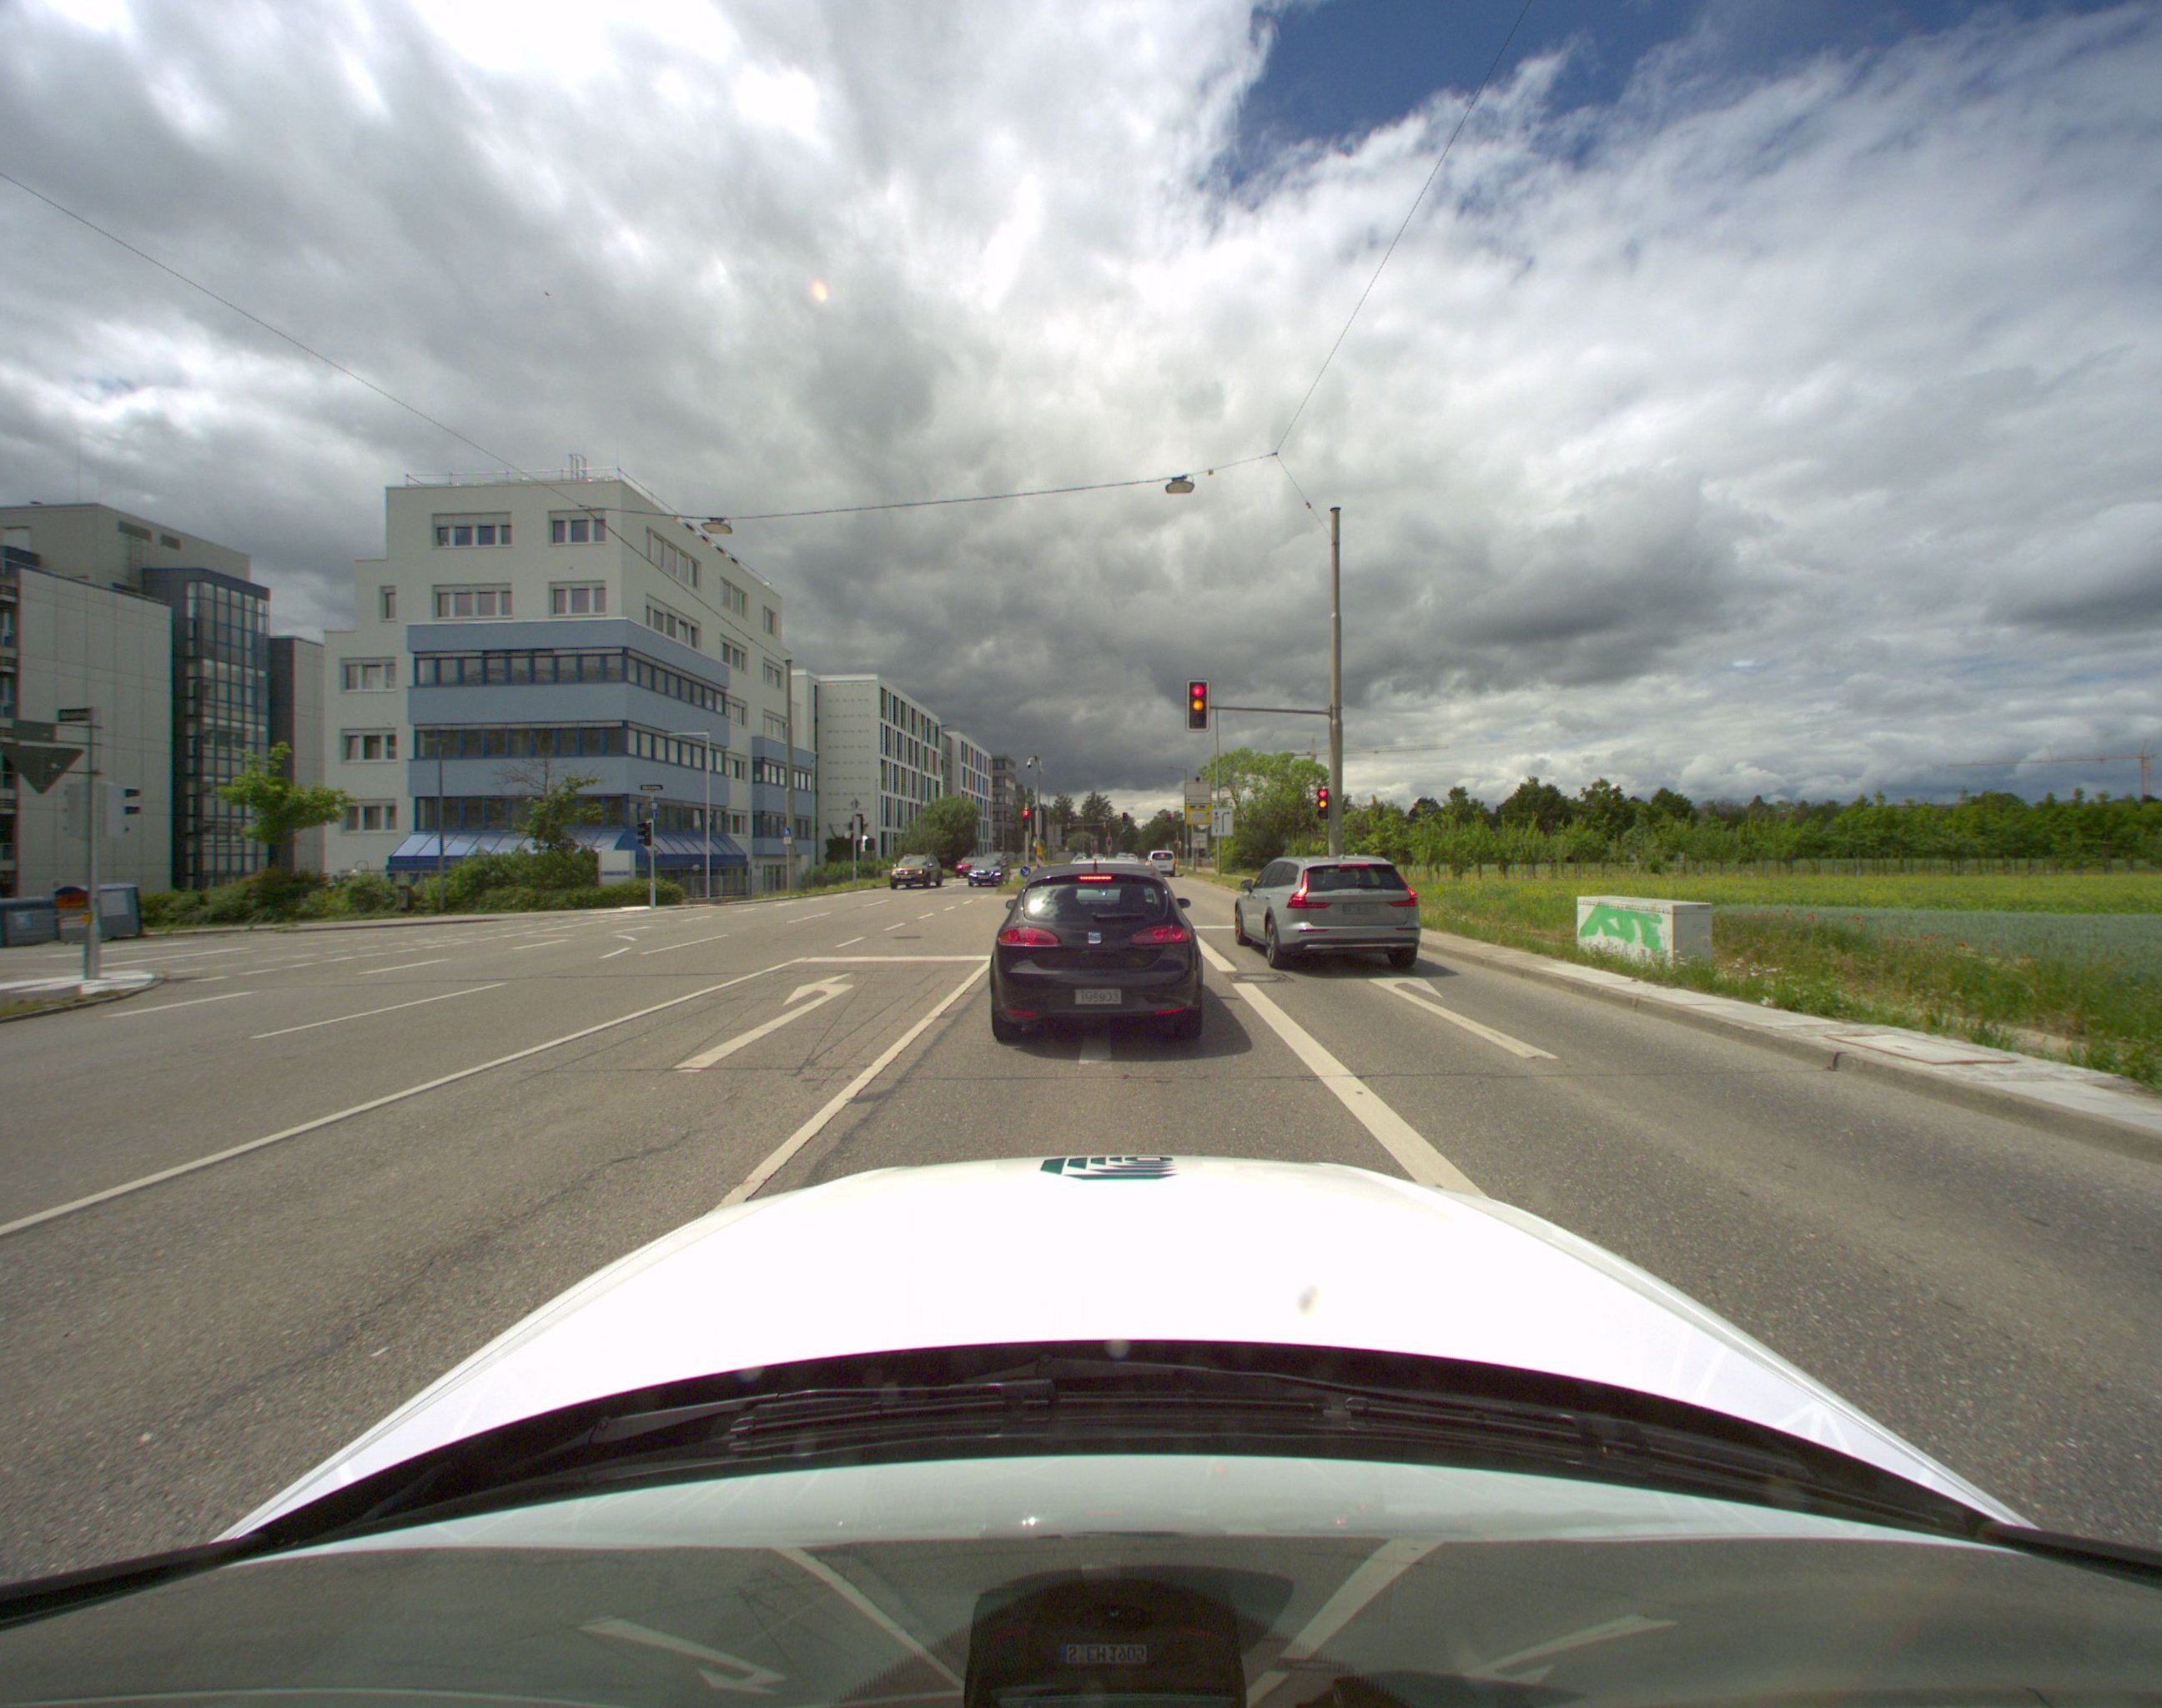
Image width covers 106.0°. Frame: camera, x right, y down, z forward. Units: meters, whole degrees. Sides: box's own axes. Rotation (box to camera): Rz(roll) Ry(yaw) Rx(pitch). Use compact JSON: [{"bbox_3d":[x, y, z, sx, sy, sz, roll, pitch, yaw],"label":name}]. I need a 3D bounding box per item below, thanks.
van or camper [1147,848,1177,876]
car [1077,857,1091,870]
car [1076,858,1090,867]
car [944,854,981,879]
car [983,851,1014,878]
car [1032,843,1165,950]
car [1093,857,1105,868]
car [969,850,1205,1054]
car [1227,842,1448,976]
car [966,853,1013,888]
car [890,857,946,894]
[{"bbox_3d":[5.837,0.596,58.977,1.892,1.926,4.001,-1,-1,2],"label":"van or camper"},{"bbox_3d":[0.476,1.477,129.201,1.986,2.014,4.001,-1,-1,2],"label":"car"},{"bbox_3d":[0.331,1.311,128.253,1.986,1.409,4.001,-1,-1,2],"label":"car"},{"bbox_3d":[-8.040,0.852,55.600,1.769,1.612,4.001,-1,-1,2],"label":"car"},{"bbox_3d":[-6.467,0.855,64.248,1.987,2.014,4.479,-1,-1,-1],"label":"car"},{"bbox_3d":[0.305,0.658,14.334,1.976,1.590,4.226,0,-1,1],"label":"car"},{"bbox_3d":[3.306,1.519,147.287,1.986,2.014,4.001,-1,-1,2],"label":"car"},{"bbox_3d":[0.222,0.734,8.019,1.739,1.484,4.006,0,-1,5],"label":"car"},{"bbox_3d":[3.453,0.687,11.916,1.950,1.525,4.342,-2,-1,2],"label":"car"},{"bbox_3d":[-4.502,0.773,40.517,1.662,1.524,4.010,-3,1,2],"label":"car"},{"bbox_3d":[-7.846,0.985,39.563,1.744,1.631,4.001,-3,0,2],"label":"car"}]
